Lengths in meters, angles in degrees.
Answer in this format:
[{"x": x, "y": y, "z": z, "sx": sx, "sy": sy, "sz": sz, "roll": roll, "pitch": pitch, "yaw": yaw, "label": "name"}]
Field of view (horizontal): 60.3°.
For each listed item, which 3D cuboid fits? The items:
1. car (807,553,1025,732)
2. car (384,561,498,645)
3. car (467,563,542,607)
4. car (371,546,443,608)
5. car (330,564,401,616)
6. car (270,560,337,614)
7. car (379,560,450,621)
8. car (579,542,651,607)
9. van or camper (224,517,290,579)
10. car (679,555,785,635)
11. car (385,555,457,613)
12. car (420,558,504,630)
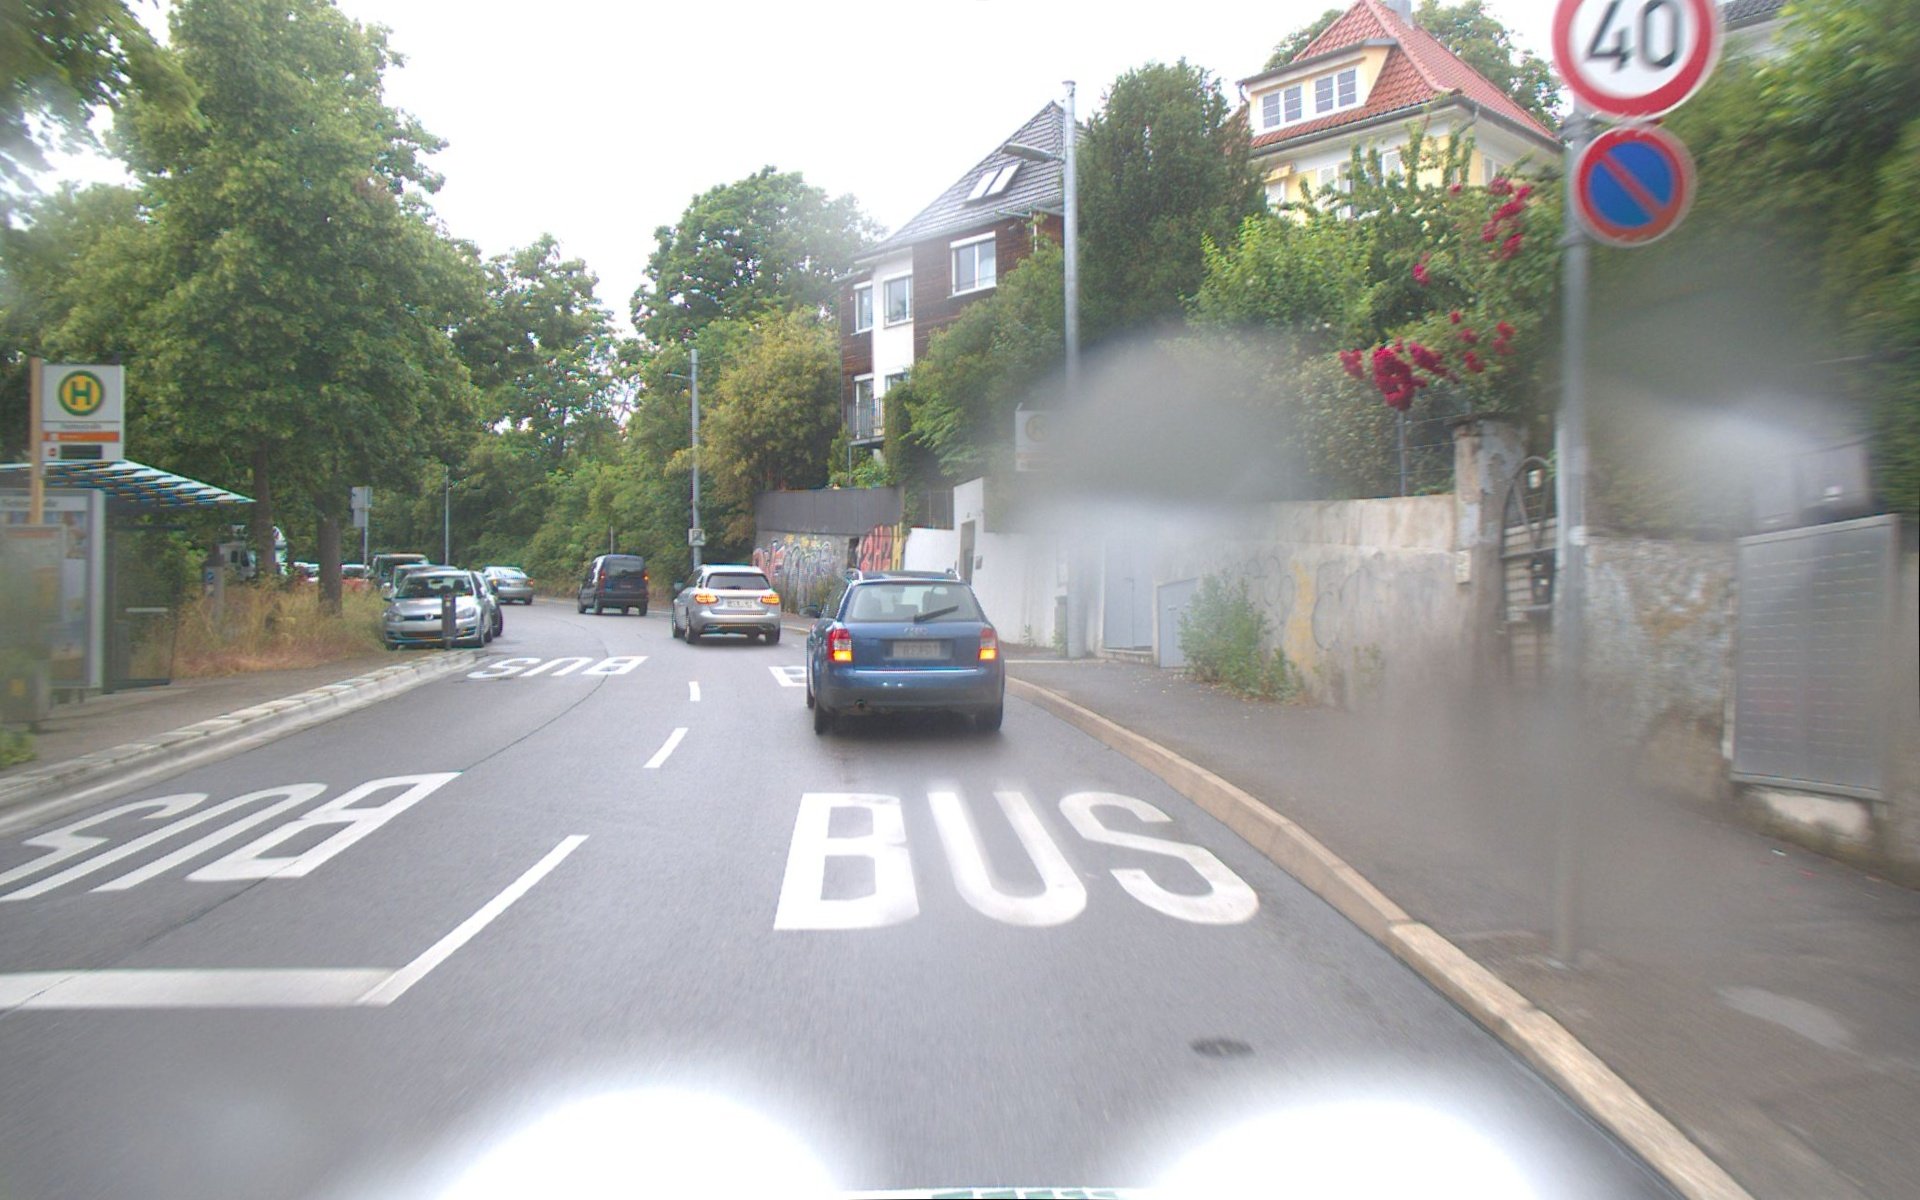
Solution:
[{"x": -0.545, "y": 0.325, "z": 15.906, "sx": 1.743, "sy": 1.464, "sz": 3.995, "roll": -1, "pitch": 1, "yaw": -7, "label": "car"}, {"x": -9.869, "y": 0.004, "z": 31.676, "sx": 1.644, "sy": 1.451, "sz": 3.988, "roll": -2, "pitch": 2, "yaw": -12, "label": "car"}, {"x": -17.689, "y": -0.567, "z": 64.148, "sx": 1.749, "sy": 1.597, "sz": 3.988, "roll": -3, "pitch": 2, "yaw": -31, "label": "car"}, {"x": -17.778, "y": -0.740, "z": 53.076, "sx": 1.813, "sy": 1.875, "sz": 3.874, "roll": -2, "pitch": 2, "yaw": -24, "label": "car"}, {"x": -21.876, "y": -0.389, "z": 60.775, "sx": 1.970, "sy": 1.757, "sz": 3.966, "roll": -3, "pitch": 2, "yaw": -26, "label": "car"}, {"x": -26.228, "y": -0.530, "z": 66.015, "sx": 1.972, "sy": 2.048, "sz": 3.961, "roll": -3, "pitch": 2, "yaw": -29, "label": "car"}, {"x": -14.278, "y": -0.278, "z": 43.433, "sx": 1.648, "sy": 1.451, "sz": 3.980, "roll": -2, "pitch": 2, "yaw": -18, "label": "car"}, {"x": -10.947, "y": -0.815, "z": 52.377, "sx": 1.704, "sy": 1.927, "sz": 4.033, "roll": -2, "pitch": 2, "yaw": -19, "label": "car"}, {"x": -31.913, "y": -2.337, "z": 75.025, "sx": 1.767, "sy": 2.697, "sz": 3.936, "roll": -3, "pitch": 2, "yaw": -38, "label": "van or camper"}, {"x": -4.536, "y": -0.101, "z": 32.441, "sx": 1.874, "sy": 1.412, "sz": 4.340, "roll": 2, "pitch": 0, "yaw": -10, "label": "car"}, {"x": -15.868, "y": -0.471, "z": 48.591, "sx": 1.651, "sy": 1.578, "sz": 3.875, "roll": -2, "pitch": 2, "yaw": -23, "label": "car"}, {"x": -11.005, "y": -0.175, "z": 36.697, "sx": 1.647, "sy": 1.451, "sz": 3.983, "roll": -2, "pitch": 2, "yaw": -16, "label": "car"}]
